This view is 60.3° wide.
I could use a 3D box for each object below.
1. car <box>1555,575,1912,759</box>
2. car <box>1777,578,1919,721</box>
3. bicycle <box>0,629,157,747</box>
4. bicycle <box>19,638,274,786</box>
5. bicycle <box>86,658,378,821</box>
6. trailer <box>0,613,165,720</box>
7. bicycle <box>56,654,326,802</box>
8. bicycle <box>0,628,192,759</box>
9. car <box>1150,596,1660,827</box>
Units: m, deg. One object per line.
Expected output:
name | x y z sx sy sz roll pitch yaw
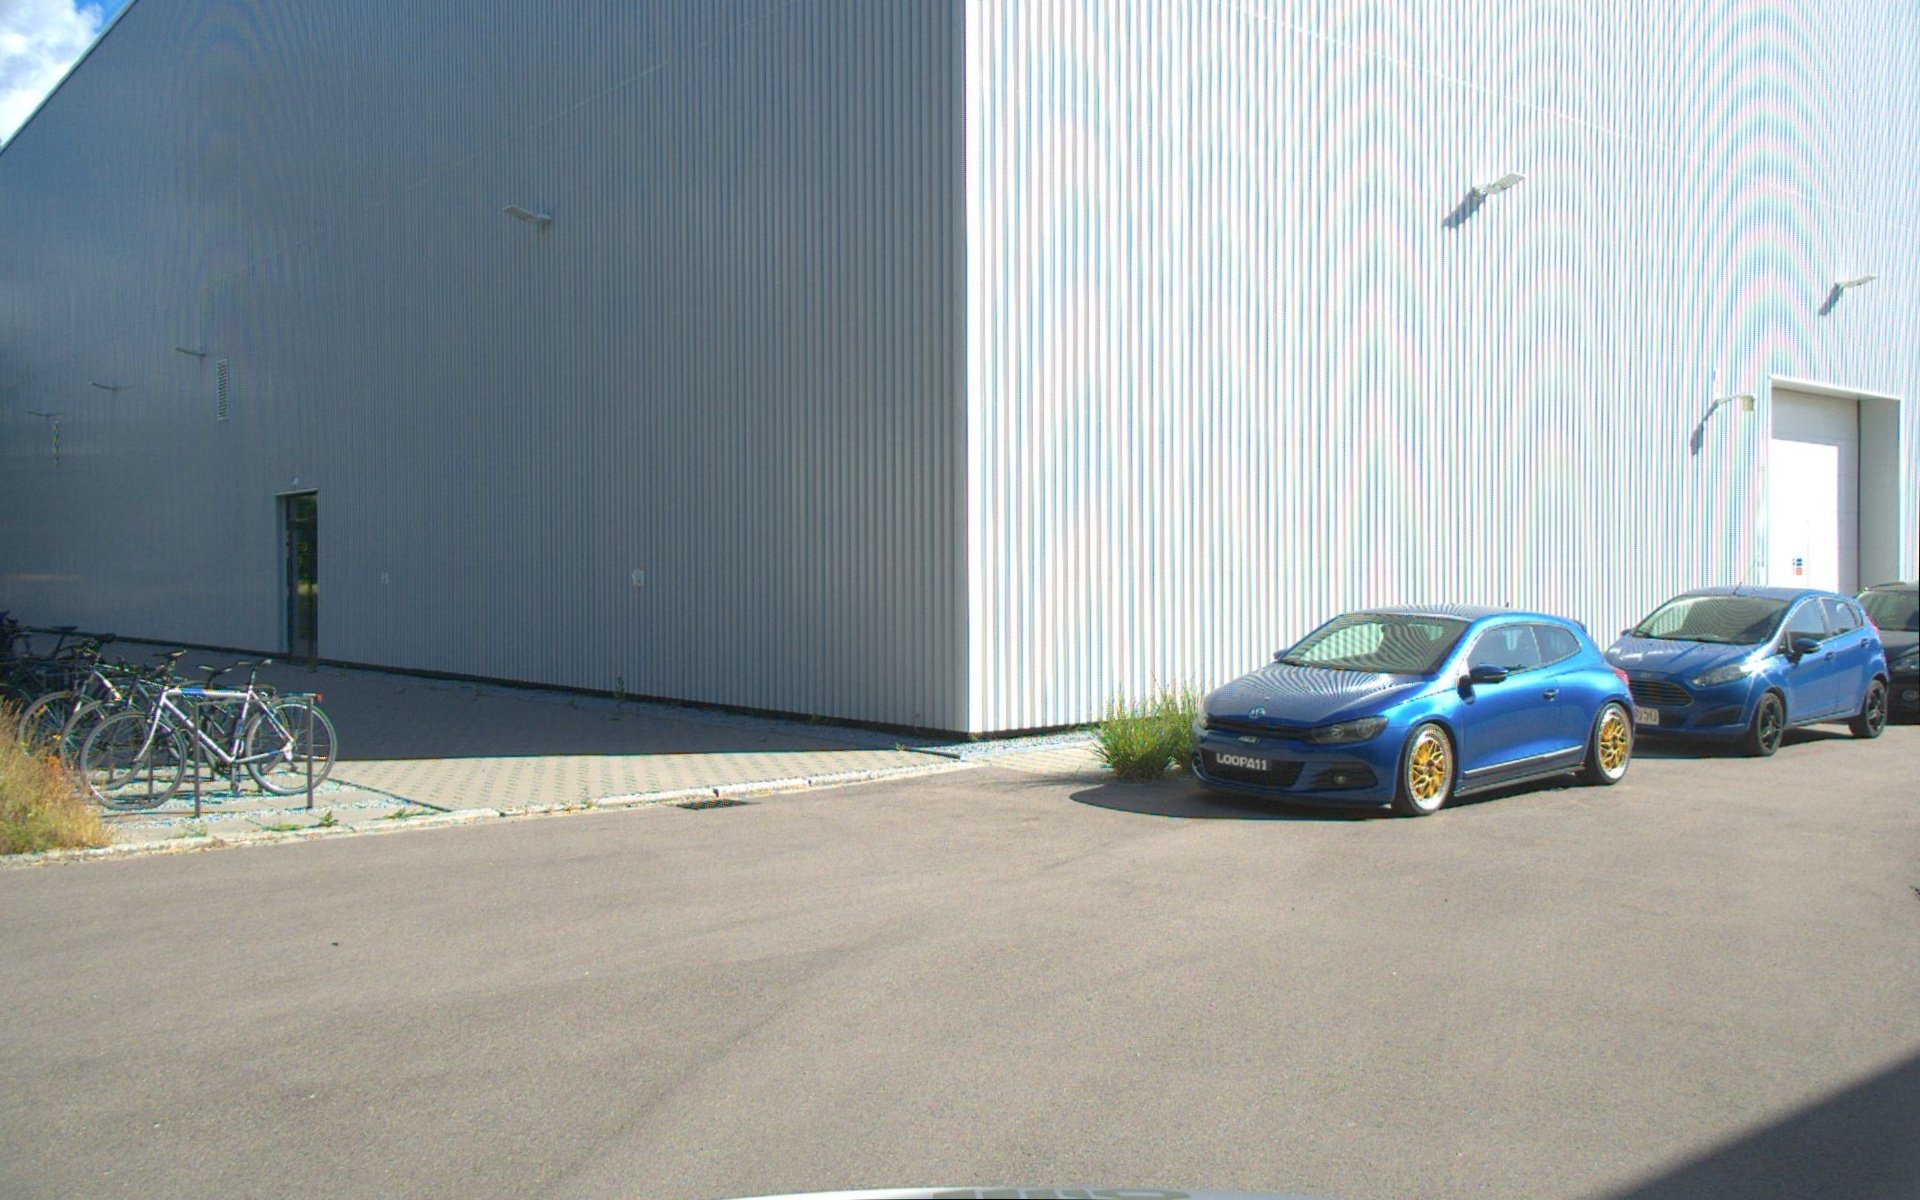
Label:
car | 7.565 0.544 16.046 3.863 1.498 1.729 -1 3 -41
car | 11.217 0.501 19.238 3.863 1.442 1.729 -1 3 -41
bicycle | -9.317 0.893 16.980 1.873 1.123 0.427 -2 1 -41
bicycle | -6.818 0.910 13.938 1.873 1.101 0.427 -2 1 -41
bicycle | -5.203 0.968 11.915 1.873 0.995 0.427 -2 1 -41
trailer | -11.548 0.822 20.649 2.695 1.220 1.227 -2 1 -41
bicycle | -5.992 0.969 12.971 1.873 0.995 0.427 -2 1 -41
bicycle | -8.426 0.873 15.854 1.873 1.145 0.427 -2 1 -41
car | 3.445 0.693 12.388 4.132 1.408 1.729 -1 1 -42
